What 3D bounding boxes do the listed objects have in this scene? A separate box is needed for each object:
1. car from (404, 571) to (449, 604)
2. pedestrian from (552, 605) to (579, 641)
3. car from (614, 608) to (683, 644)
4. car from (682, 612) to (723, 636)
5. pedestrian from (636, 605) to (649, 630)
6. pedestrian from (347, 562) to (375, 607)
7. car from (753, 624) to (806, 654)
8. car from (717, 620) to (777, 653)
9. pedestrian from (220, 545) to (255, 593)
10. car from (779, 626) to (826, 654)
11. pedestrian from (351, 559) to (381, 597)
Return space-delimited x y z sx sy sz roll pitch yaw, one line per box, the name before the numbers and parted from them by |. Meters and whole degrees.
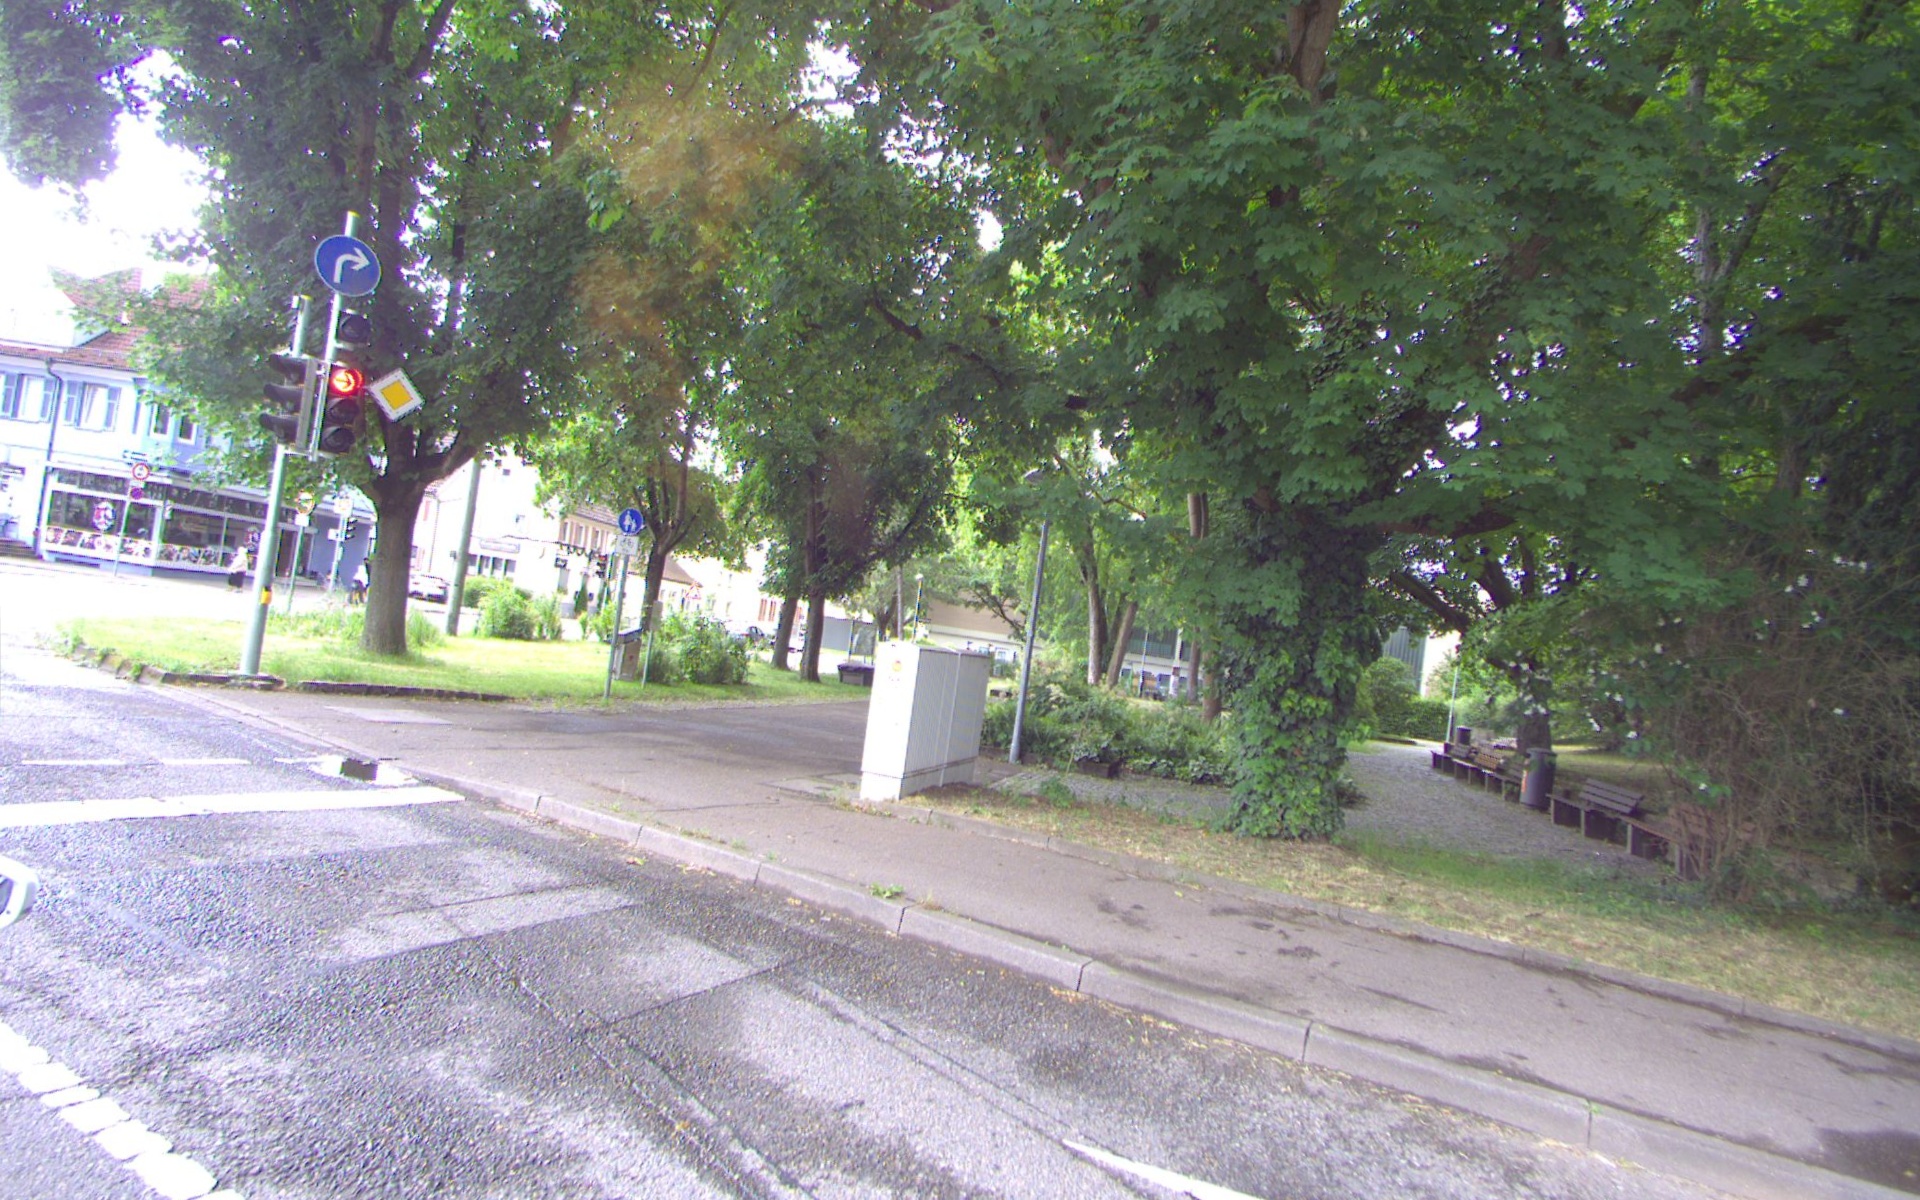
car | -28.175 -0.694 53.158 1.870 1.406 3.589 9 -2 -28
pedestrian | -13.001 0.769 33.189 0.506 1.093 0.507 6 -1 17
car | -13.583 1.153 44.039 1.436 1.282 3.014 7 -2 13
car | -19.034 1.818 74.463 1.736 1.463 3.865 7 -2 2
pedestrian | -21.564 1.192 68.286 0.500 1.578 0.505 6 -1 17
pedestrian | -22.226 -0.589 37.327 0.688 1.578 0.662 7 -1 -27
car | -10.700 2.335 59.904 1.618 1.474 3.740 7 -2 13
car | -11.563 2.012 54.930 1.618 1.474 3.740 7 -2 13
pedestrian | -25.267 -1.082 35.190 0.725 1.578 0.763 7 -1 -27
car | -10.274 2.652 66.035 1.618 1.474 3.740 7 -2 13
pedestrian | -26.863 -0.982 45.506 0.732 1.578 0.673 6 -1 17
